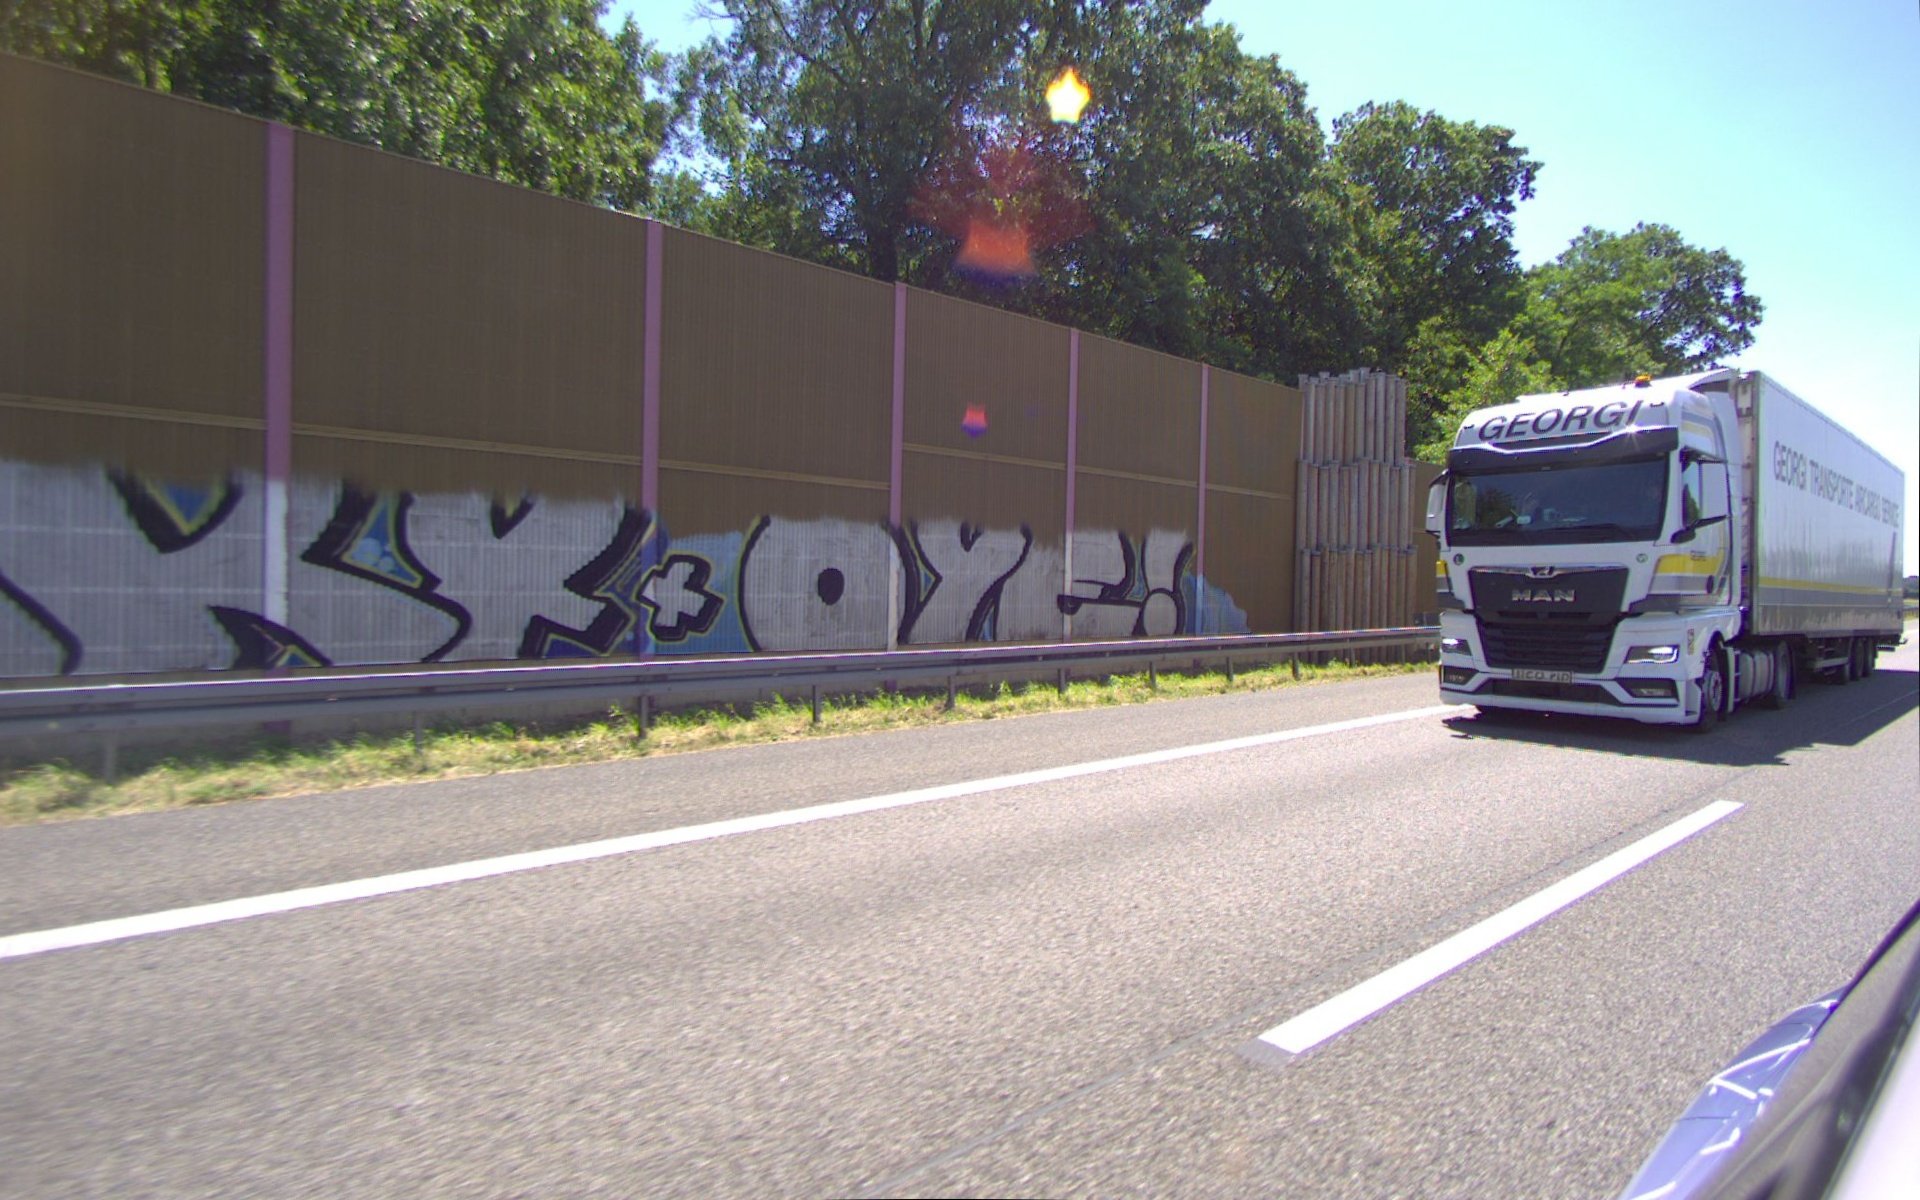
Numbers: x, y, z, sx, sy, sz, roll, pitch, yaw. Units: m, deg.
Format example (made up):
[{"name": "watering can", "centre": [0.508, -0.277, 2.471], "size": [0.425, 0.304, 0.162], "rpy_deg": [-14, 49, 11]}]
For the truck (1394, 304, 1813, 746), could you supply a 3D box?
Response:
[{"name": "truck", "centre": [8.008, -0.757, 12.422], "size": [5.161, 4.176, 3.008], "rpy_deg": [-1, 1, -41]}]

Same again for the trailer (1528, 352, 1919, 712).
[{"name": "trailer", "centre": [14.079, -0.877, 17.702], "size": [13.184, 4.343, 2.999], "rpy_deg": [0, 0, -41]}]
